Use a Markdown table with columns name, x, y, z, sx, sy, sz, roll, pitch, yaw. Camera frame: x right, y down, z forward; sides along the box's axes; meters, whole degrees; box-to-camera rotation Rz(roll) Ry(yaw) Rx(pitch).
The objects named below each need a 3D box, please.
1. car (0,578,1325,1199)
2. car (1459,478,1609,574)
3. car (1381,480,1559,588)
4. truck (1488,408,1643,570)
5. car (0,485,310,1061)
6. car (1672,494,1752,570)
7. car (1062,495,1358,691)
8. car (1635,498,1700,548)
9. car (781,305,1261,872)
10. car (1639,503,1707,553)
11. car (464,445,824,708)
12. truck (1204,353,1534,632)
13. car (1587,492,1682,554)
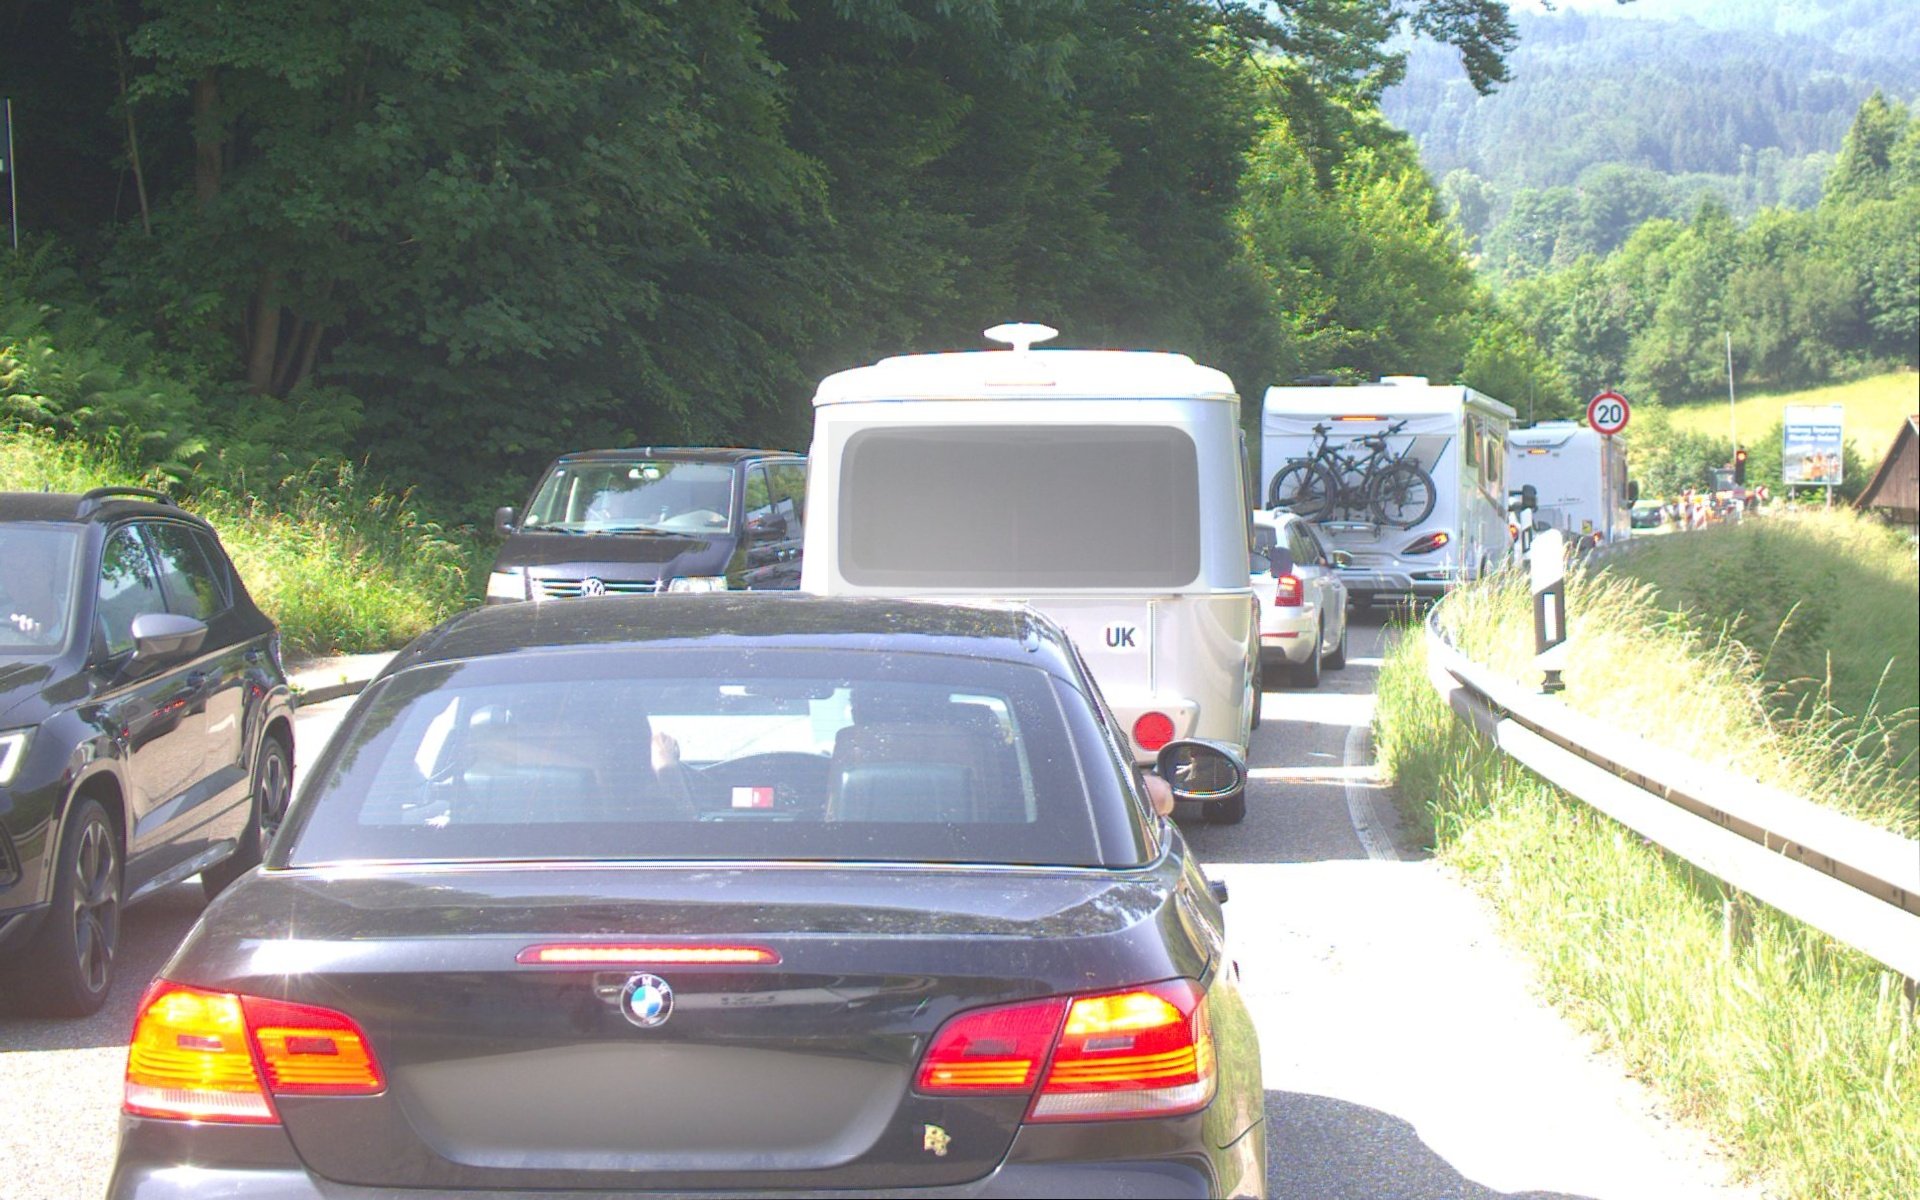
| name | x | y | z | sx | sy | sz | roll | pitch | yaw |
| --- | --- | --- | --- | --- | --- | --- | --- | --- | --- |
| car | -0.348 | 0.669 | 6.286 | 1.771 | 1.331 | 3.767 | 0 | 2 | 2 |
| car | 9.456 | -1.249 | 56.435 | 1.789 | 1.459 | 3.997 | 3 | 3 | 18 |
| car | 7.571 | -1.010 | 50.753 | 1.995 | 1.459 | 3.997 | 3 | 3 | 17 |
| truck | 11.110 | -1.959 | 62.751 | 2.239 | 2.794 | 6.228 | 1 | 1 | 15 |
| car | -3.479 | 0.406 | 11.458 | 1.822 | 1.579 | 4.083 | 0 | 2 | 0 |
| car | 20.680 | -1.845 | 94.532 | 1.995 | 1.919 | 3.998 | 4 | 1 | 13 |
| car | 2.195 | -0.113 | 29.166 | 1.994 | 1.479 | 3.998 | 2 | 2 | 11 |
| car | 25.055 | -2.712 | 121.653 | 1.995 | 1.678 | 3.997 | 1 | 0 | 15 |
| car | 0.439 | -0.134 | 16.754 | 1.994 | 2.345 | 4.913 | 0 | 2 | 5 |
| car | 23.222 | -2.340 | 111.904 | 1.995 | 1.570 | 3.997 | 1 | 1 | 14 |
| car | -2.321 | -0.259 | 26.431 | 1.919 | 1.820 | 4.490 | 1 | 2 | 6 |
| truck | 5.045 | -1.317 | 41.256 | 2.793 | 2.987 | 6.863 | 3 | 3 | 16 |
| car | 16.706 | -1.891 | 85.038 | 1.908 | 1.481 | 3.997 | 1 | 1 | 17 |
